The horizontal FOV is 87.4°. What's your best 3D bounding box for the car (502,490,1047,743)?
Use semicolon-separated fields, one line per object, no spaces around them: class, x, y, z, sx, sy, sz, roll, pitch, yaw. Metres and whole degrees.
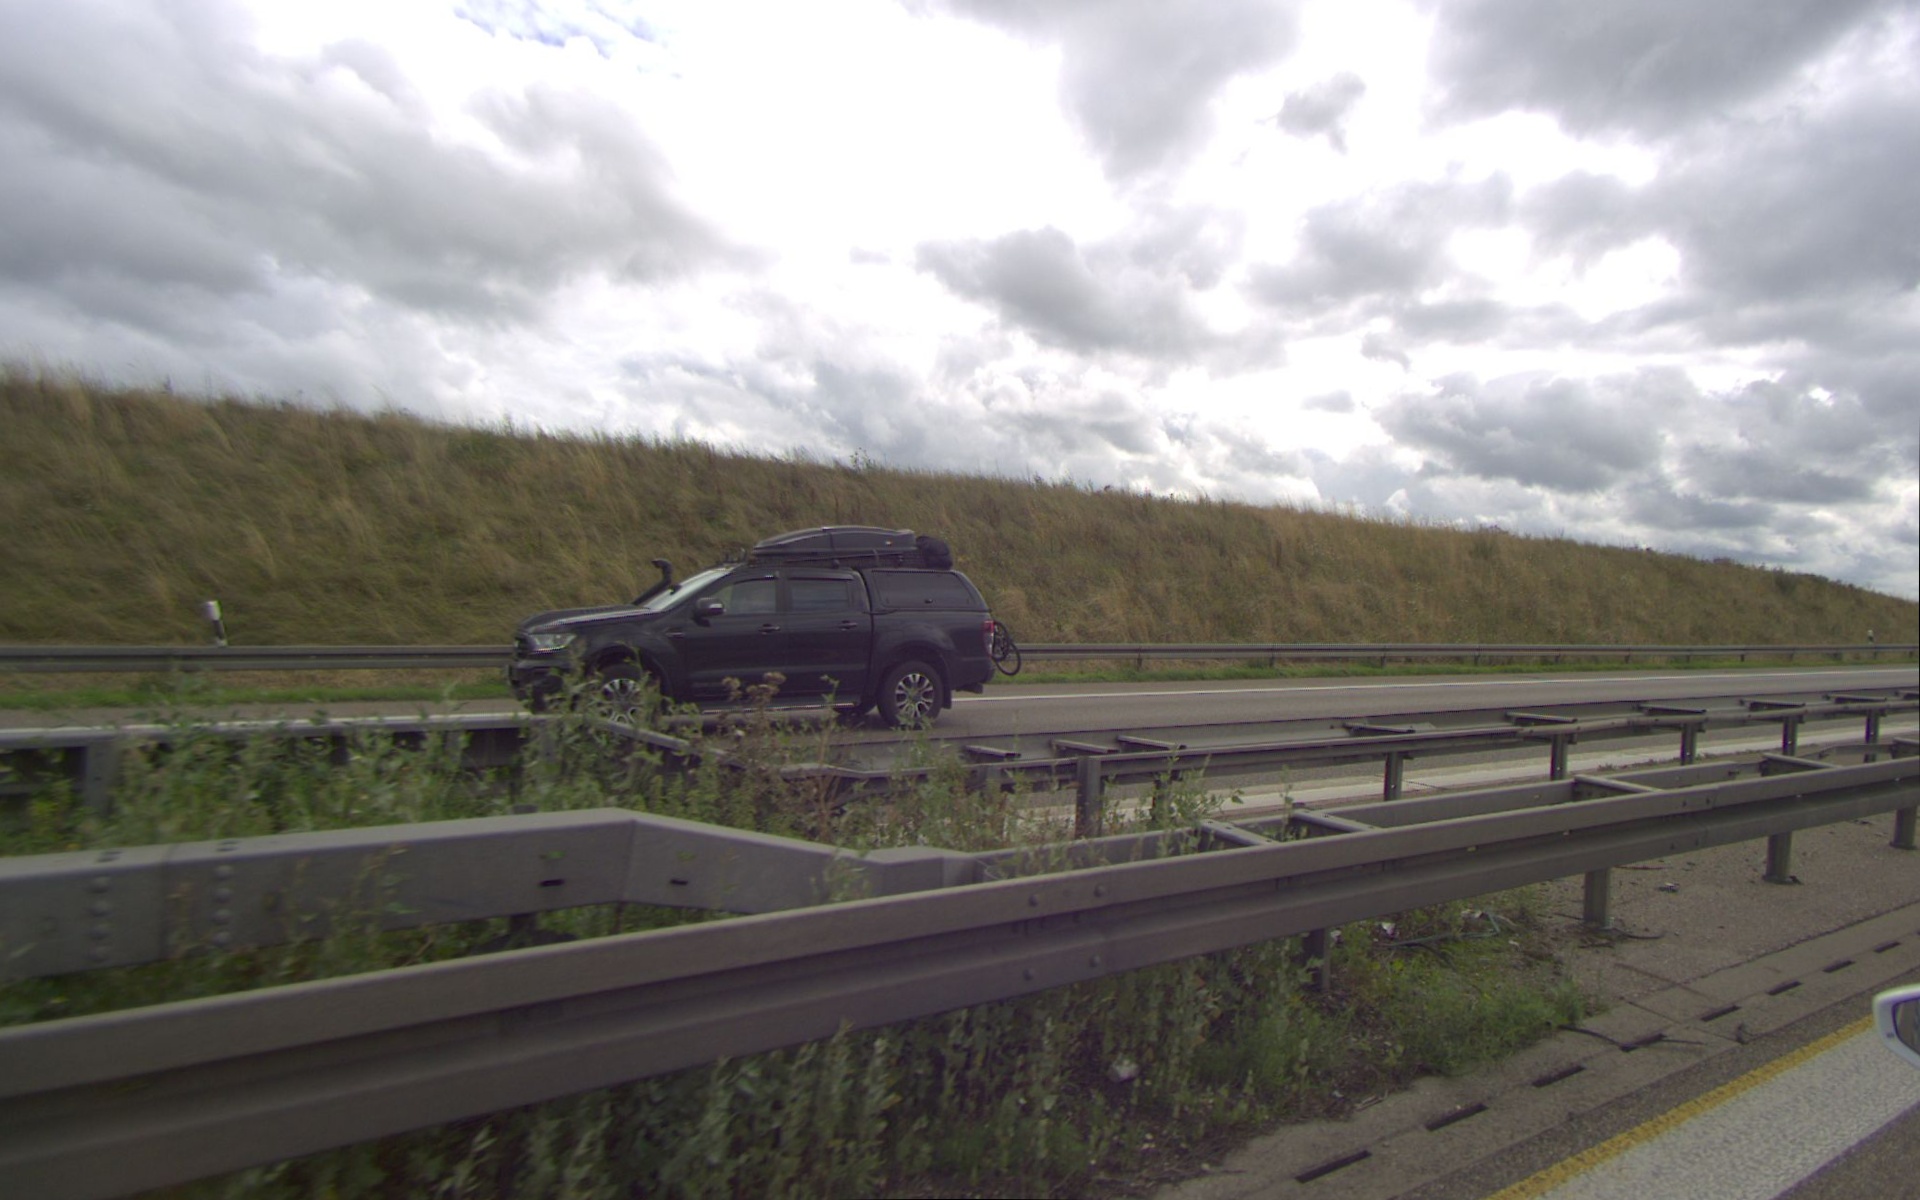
car;-1.938;0.242;11.302;5.652;2.272;1.984;3;0;-30
